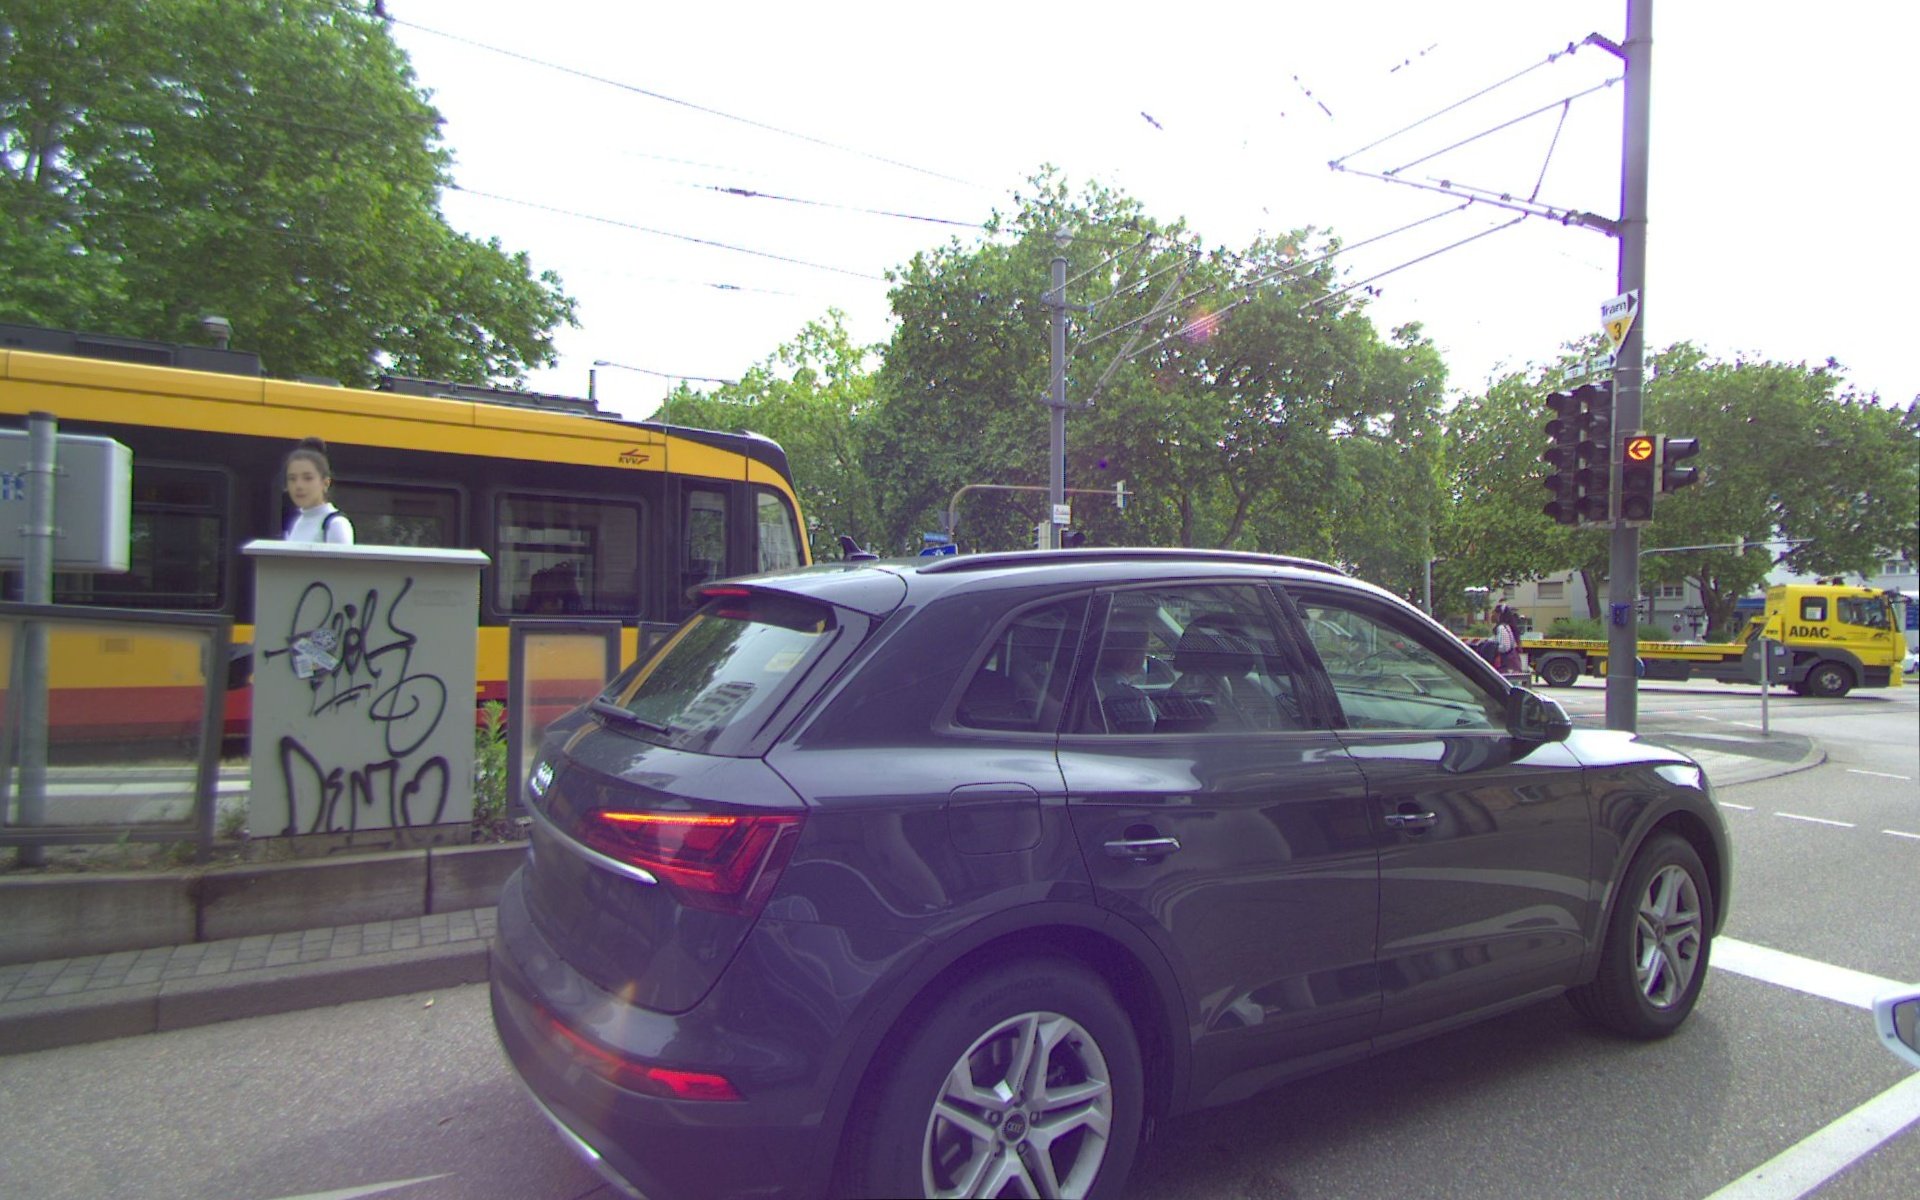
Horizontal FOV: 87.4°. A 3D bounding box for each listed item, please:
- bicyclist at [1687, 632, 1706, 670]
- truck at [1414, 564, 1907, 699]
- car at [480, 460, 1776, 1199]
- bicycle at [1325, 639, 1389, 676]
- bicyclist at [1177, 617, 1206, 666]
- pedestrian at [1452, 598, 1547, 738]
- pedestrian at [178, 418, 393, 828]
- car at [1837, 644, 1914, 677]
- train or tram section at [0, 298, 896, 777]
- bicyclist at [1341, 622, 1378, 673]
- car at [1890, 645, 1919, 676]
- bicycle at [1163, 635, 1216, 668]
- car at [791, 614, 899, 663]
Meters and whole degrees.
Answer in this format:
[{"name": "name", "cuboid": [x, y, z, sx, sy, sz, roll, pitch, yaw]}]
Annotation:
[{"name": "bicyclist", "cuboid": [36.000, 2.471, 49.095, 0.461, 1.808, 0.534, 2, 0, -10]}, {"name": "truck", "cuboid": [17.288, 0.643, 25.921, 9.992, 2.980, 2.634, 1, 0, 28]}, {"name": "car", "cuboid": [0.795, 0.655, 3.528, 4.308, 1.622, 1.870, 2, -1, -31]}, {"name": "bicycle", "cuboid": [13.776, 1.978, 34.891, 1.914, 1.151, 0.732, 2, 0, 40]}, {"name": "bicyclist", "cuboid": [8.967, 1.599, 38.891, 0.951, 1.843, 0.531, 2, 0, 32]}, {"name": "pedestrian", "cuboid": [6.872, 0.847, 12.829, 0.851, 1.702, 0.673, 2, 0, 9]}, {"name": "pedestrian", "cuboid": [-3.053, 0.102, 4.626, 0.722, 1.683, 0.750, 2, 0, -30]}, {"name": "car", "cuboid": [46.873, 3.087, 51.427, 3.792, 1.578, 1.885, 2, 0, -30]}, {"name": "train or tram section", "cuboid": [-8.273, -0.499, 8.830, 15.665, 3.636, 3.045, 2, 0, -31]}, {"name": "bicyclist", "cuboid": [13.856, 1.621, 34.848, 1.026, 1.706, 0.641, 2, 0, 41]}, {"name": "car", "cuboid": [52.813, 3.313, 54.928, 3.792, 1.578, 1.885, 2, 0, -30]}, {"name": "bicycle", "cuboid": [8.904, 1.990, 38.946, 1.873, 1.158, 0.627, 2, 0, 32]}, {"name": "car", "cuboid": [-5.358, 1.734, 46.525, 4.798, 1.993, 1.983, 2, 0, 35]}]
